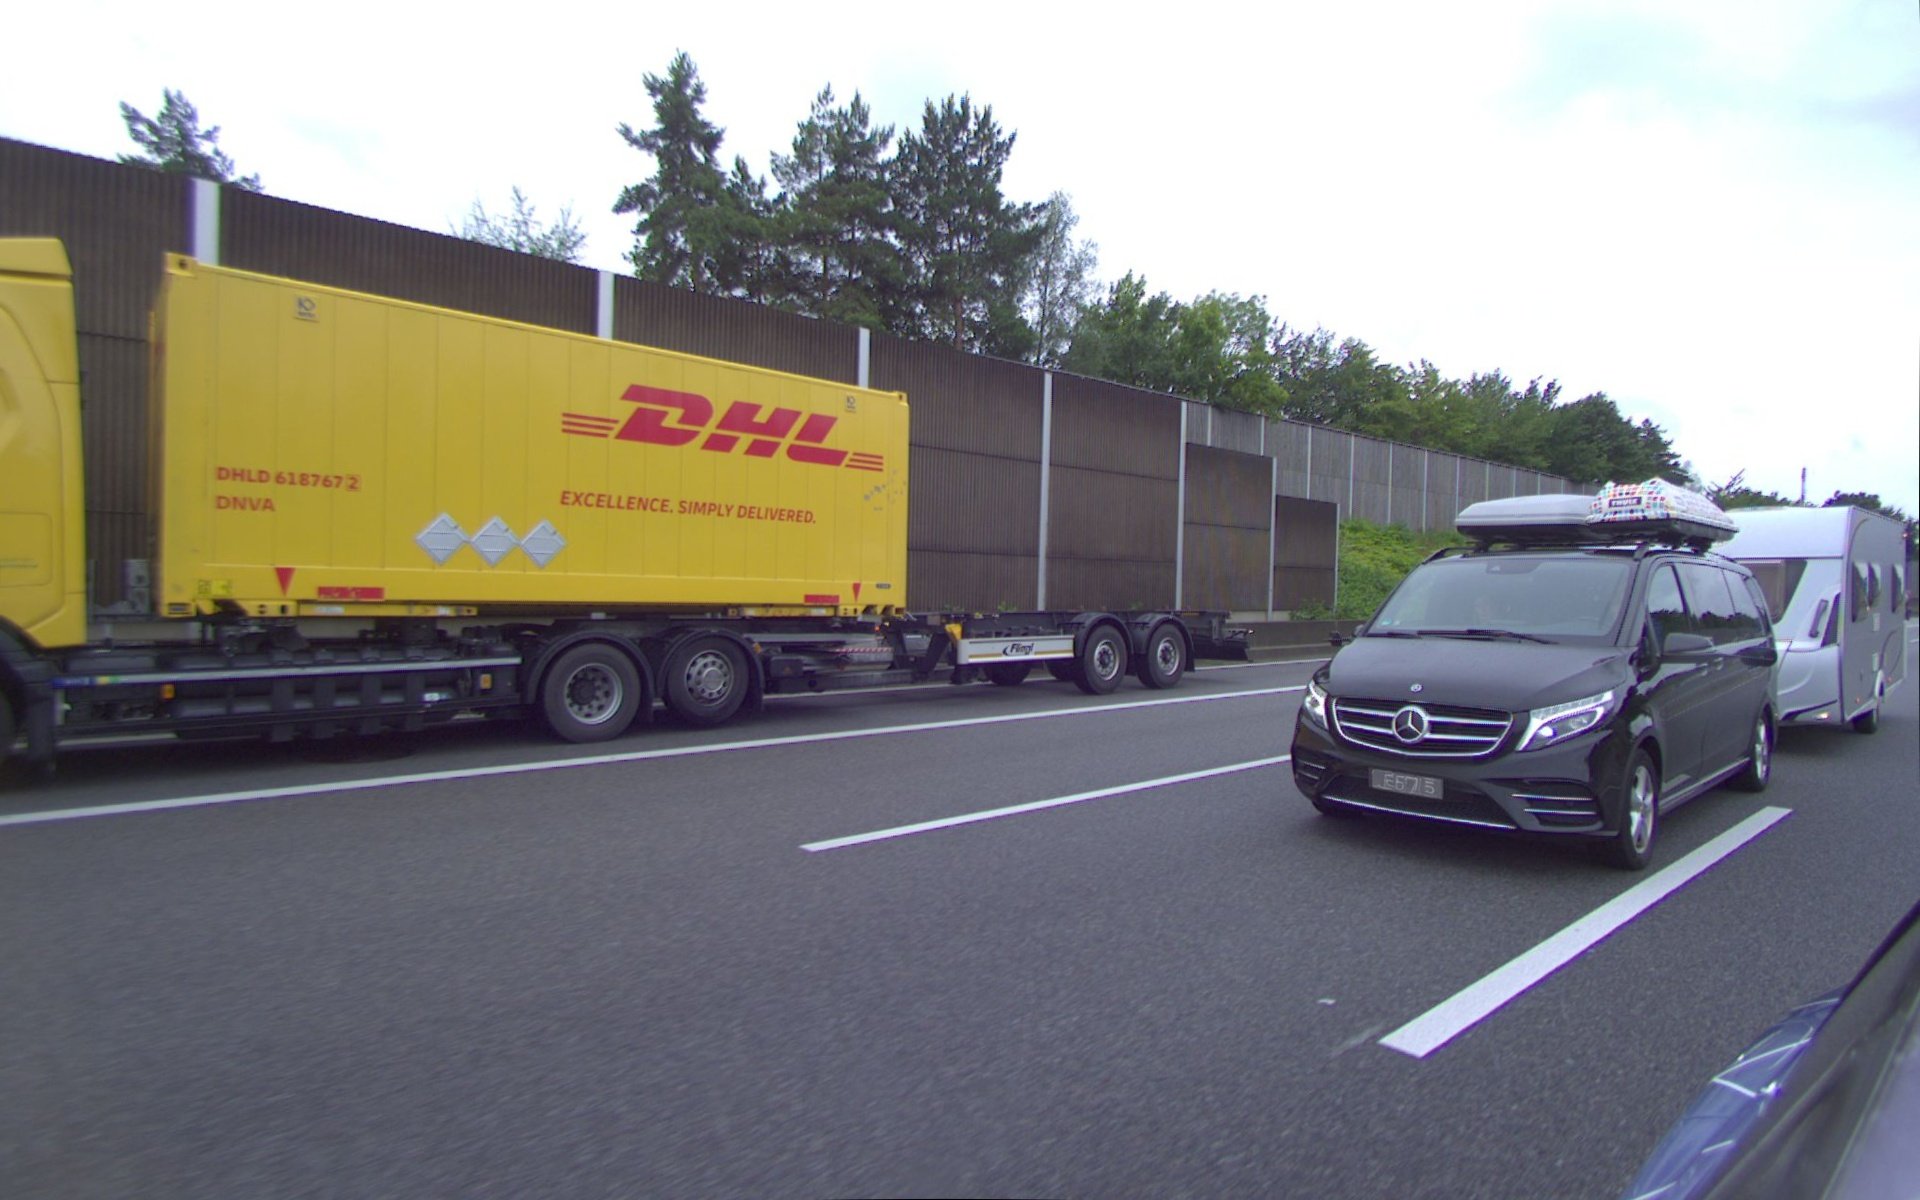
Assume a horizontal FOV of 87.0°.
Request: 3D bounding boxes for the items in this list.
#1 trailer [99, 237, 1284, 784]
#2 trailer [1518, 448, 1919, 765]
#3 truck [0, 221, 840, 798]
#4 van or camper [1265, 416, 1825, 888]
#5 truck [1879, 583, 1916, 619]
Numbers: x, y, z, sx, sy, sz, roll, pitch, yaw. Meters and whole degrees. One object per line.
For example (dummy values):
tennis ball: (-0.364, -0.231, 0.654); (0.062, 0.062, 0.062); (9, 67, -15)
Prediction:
trailer: (-1.049, -0.700, 13.921); (16.400, 4.003, 2.654); (0, 0, -42)
trailer: (9.446, 0.024, 12.081); (7.385, 2.675, 2.724); (0, 1, -43)
truck: (-5.676, -0.648, 9.756); (9.167, 4.008, 2.689); (0, 0, -42)
van or camper: (4.645, 0.235, 7.497); (5.580, 2.298, 1.894); (0, 1, -41)
truck: (94.326, 0.117, 101.817); (3.933, 3.508, 2.417); (0, 1, -44)
